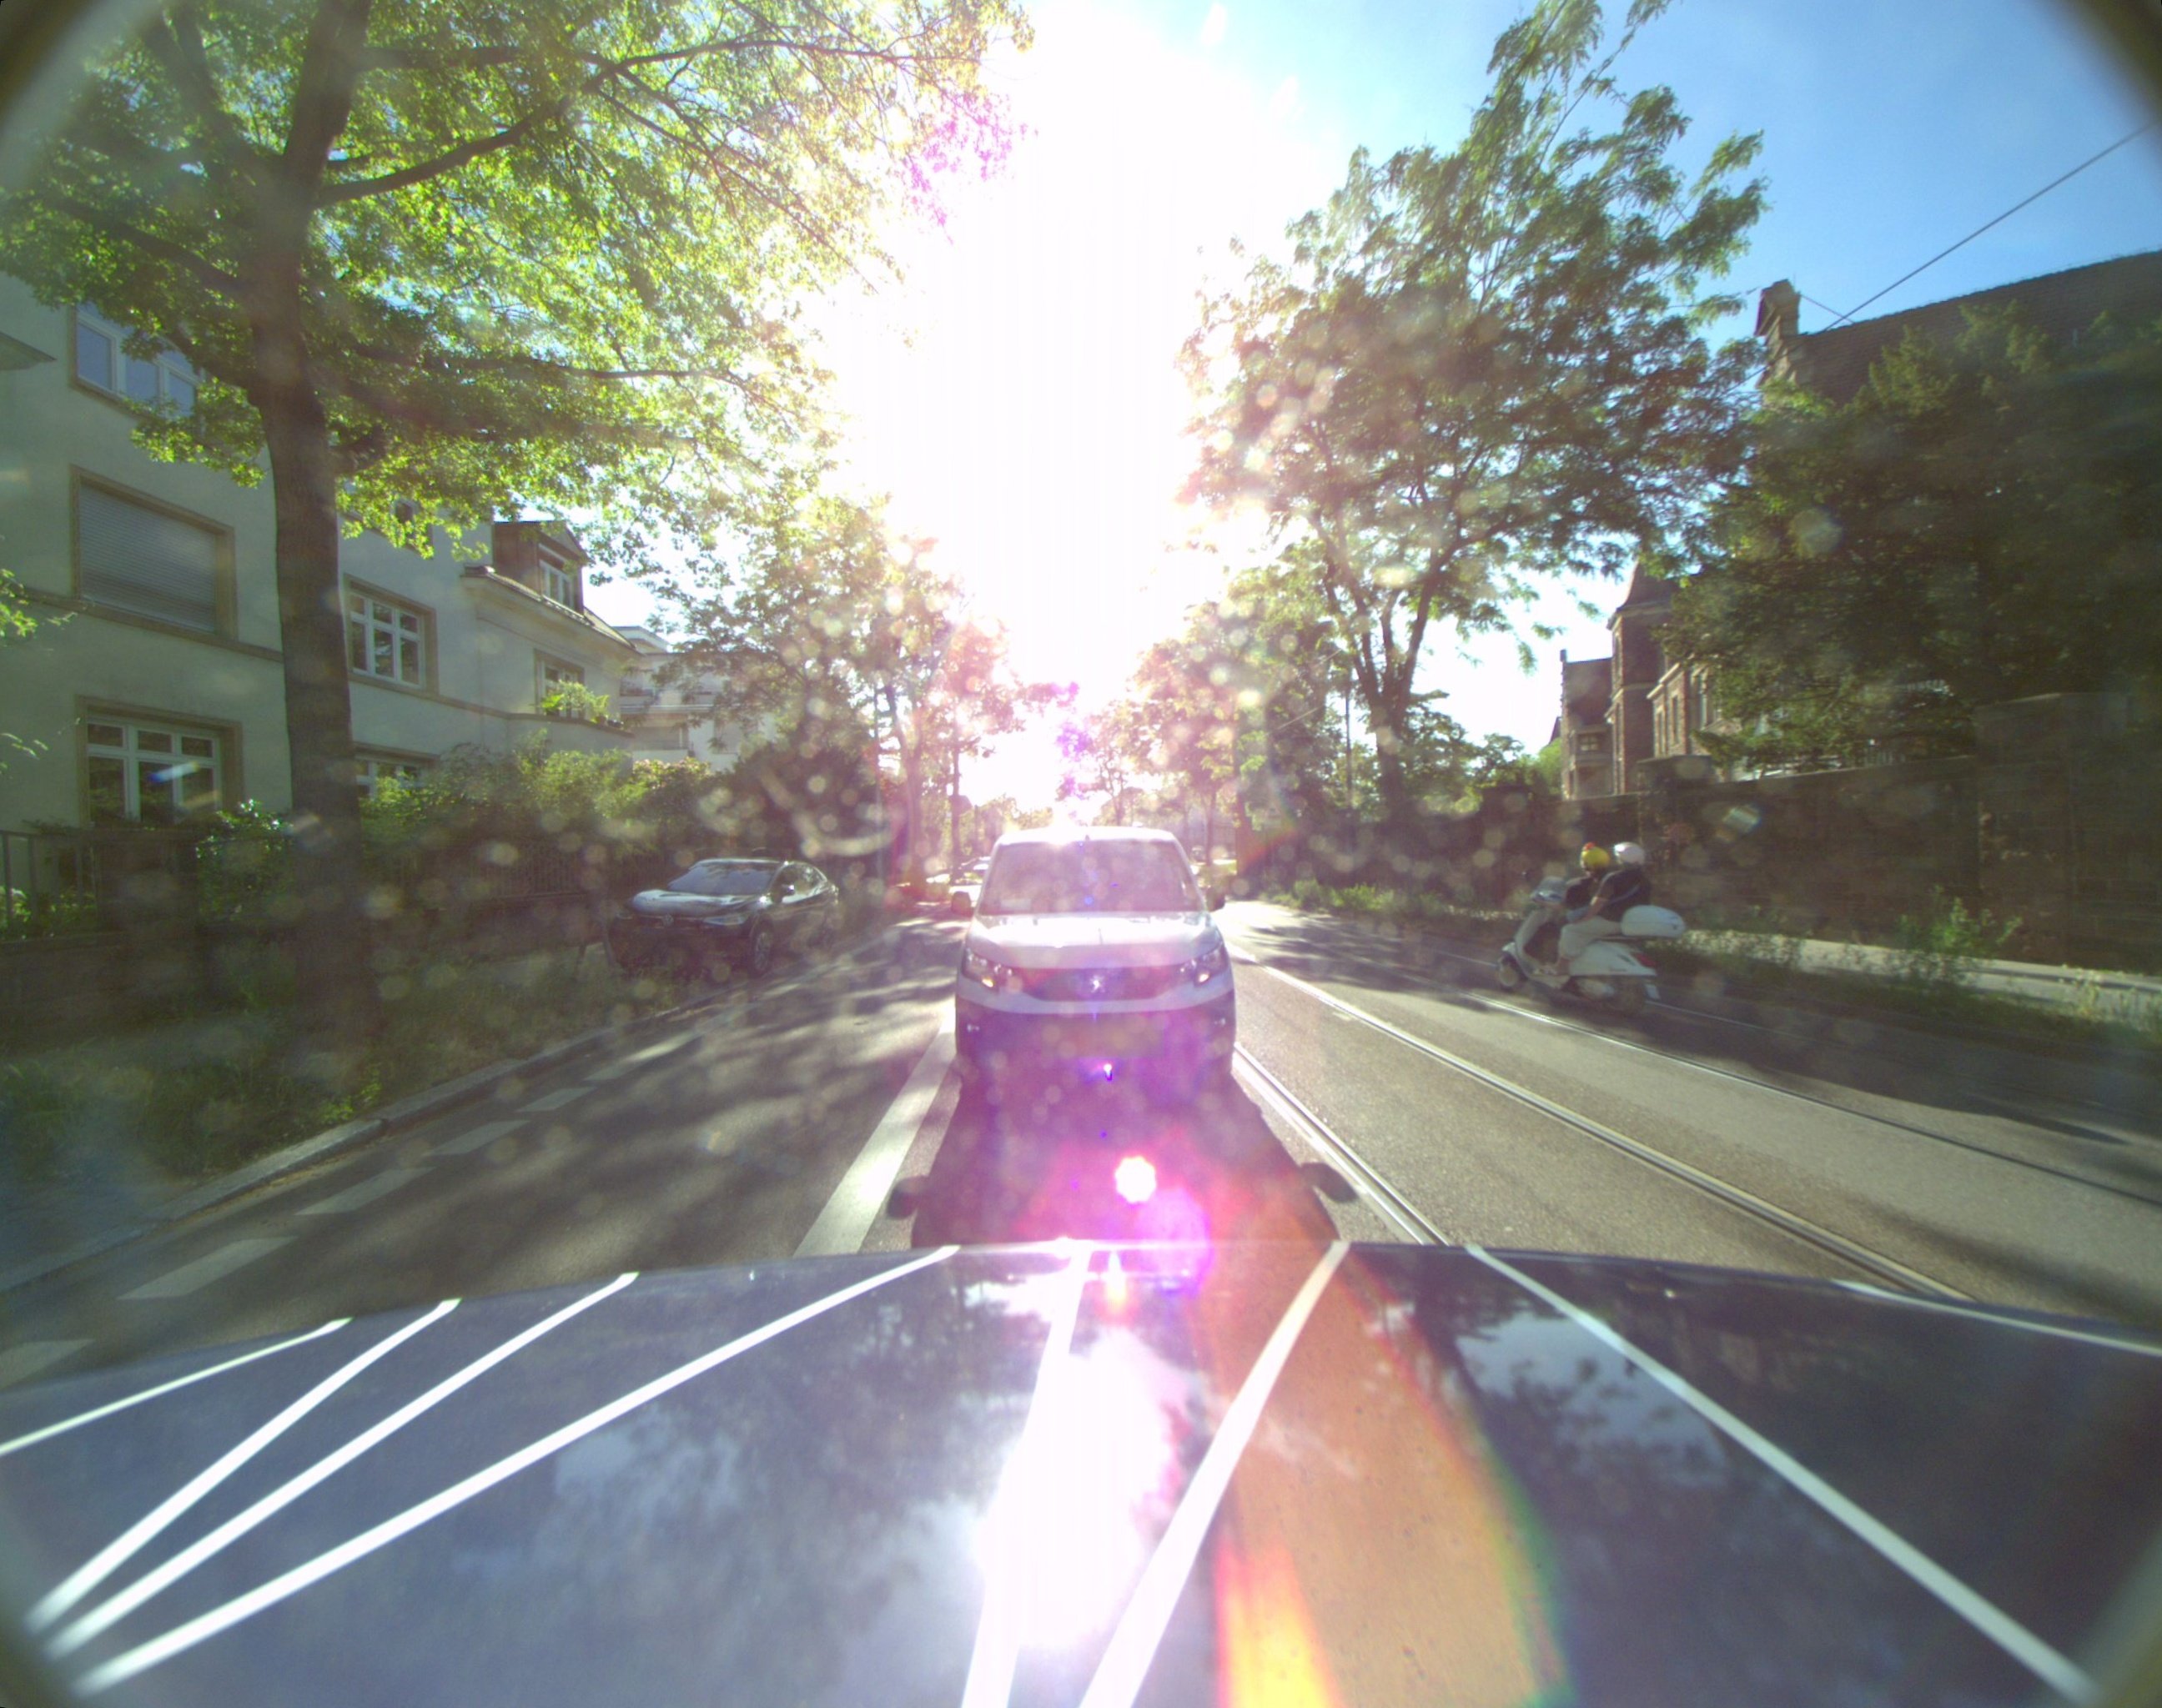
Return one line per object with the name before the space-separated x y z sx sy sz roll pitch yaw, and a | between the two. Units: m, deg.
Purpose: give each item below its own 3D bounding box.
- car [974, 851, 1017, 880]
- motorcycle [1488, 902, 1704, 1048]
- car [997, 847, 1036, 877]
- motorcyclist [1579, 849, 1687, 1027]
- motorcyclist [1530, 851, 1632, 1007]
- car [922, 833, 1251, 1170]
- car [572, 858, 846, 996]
car | -5.044 0.657 45.216 1.823 1.630 4.001 -2 0 4
motorcycle | 4.831 1.073 7.307 0.611 1.087 1.855 -2 0 -8
car | -4.360 0.499 51.777 2.129 1.884 4.746 -2 0 1
motorcyclist | 4.898 0.716 6.763 0.608 1.507 0.465 -2 1 -9
motorcyclist | 4.811 0.697 7.326 0.686 1.432 0.446 -2 1 -9
car | 0.025 0.798 6.134 1.768 1.812 3.999 -1 0 0
car | -5.253 0.932 11.542 1.999 1.665 4.380 1 -1 0
